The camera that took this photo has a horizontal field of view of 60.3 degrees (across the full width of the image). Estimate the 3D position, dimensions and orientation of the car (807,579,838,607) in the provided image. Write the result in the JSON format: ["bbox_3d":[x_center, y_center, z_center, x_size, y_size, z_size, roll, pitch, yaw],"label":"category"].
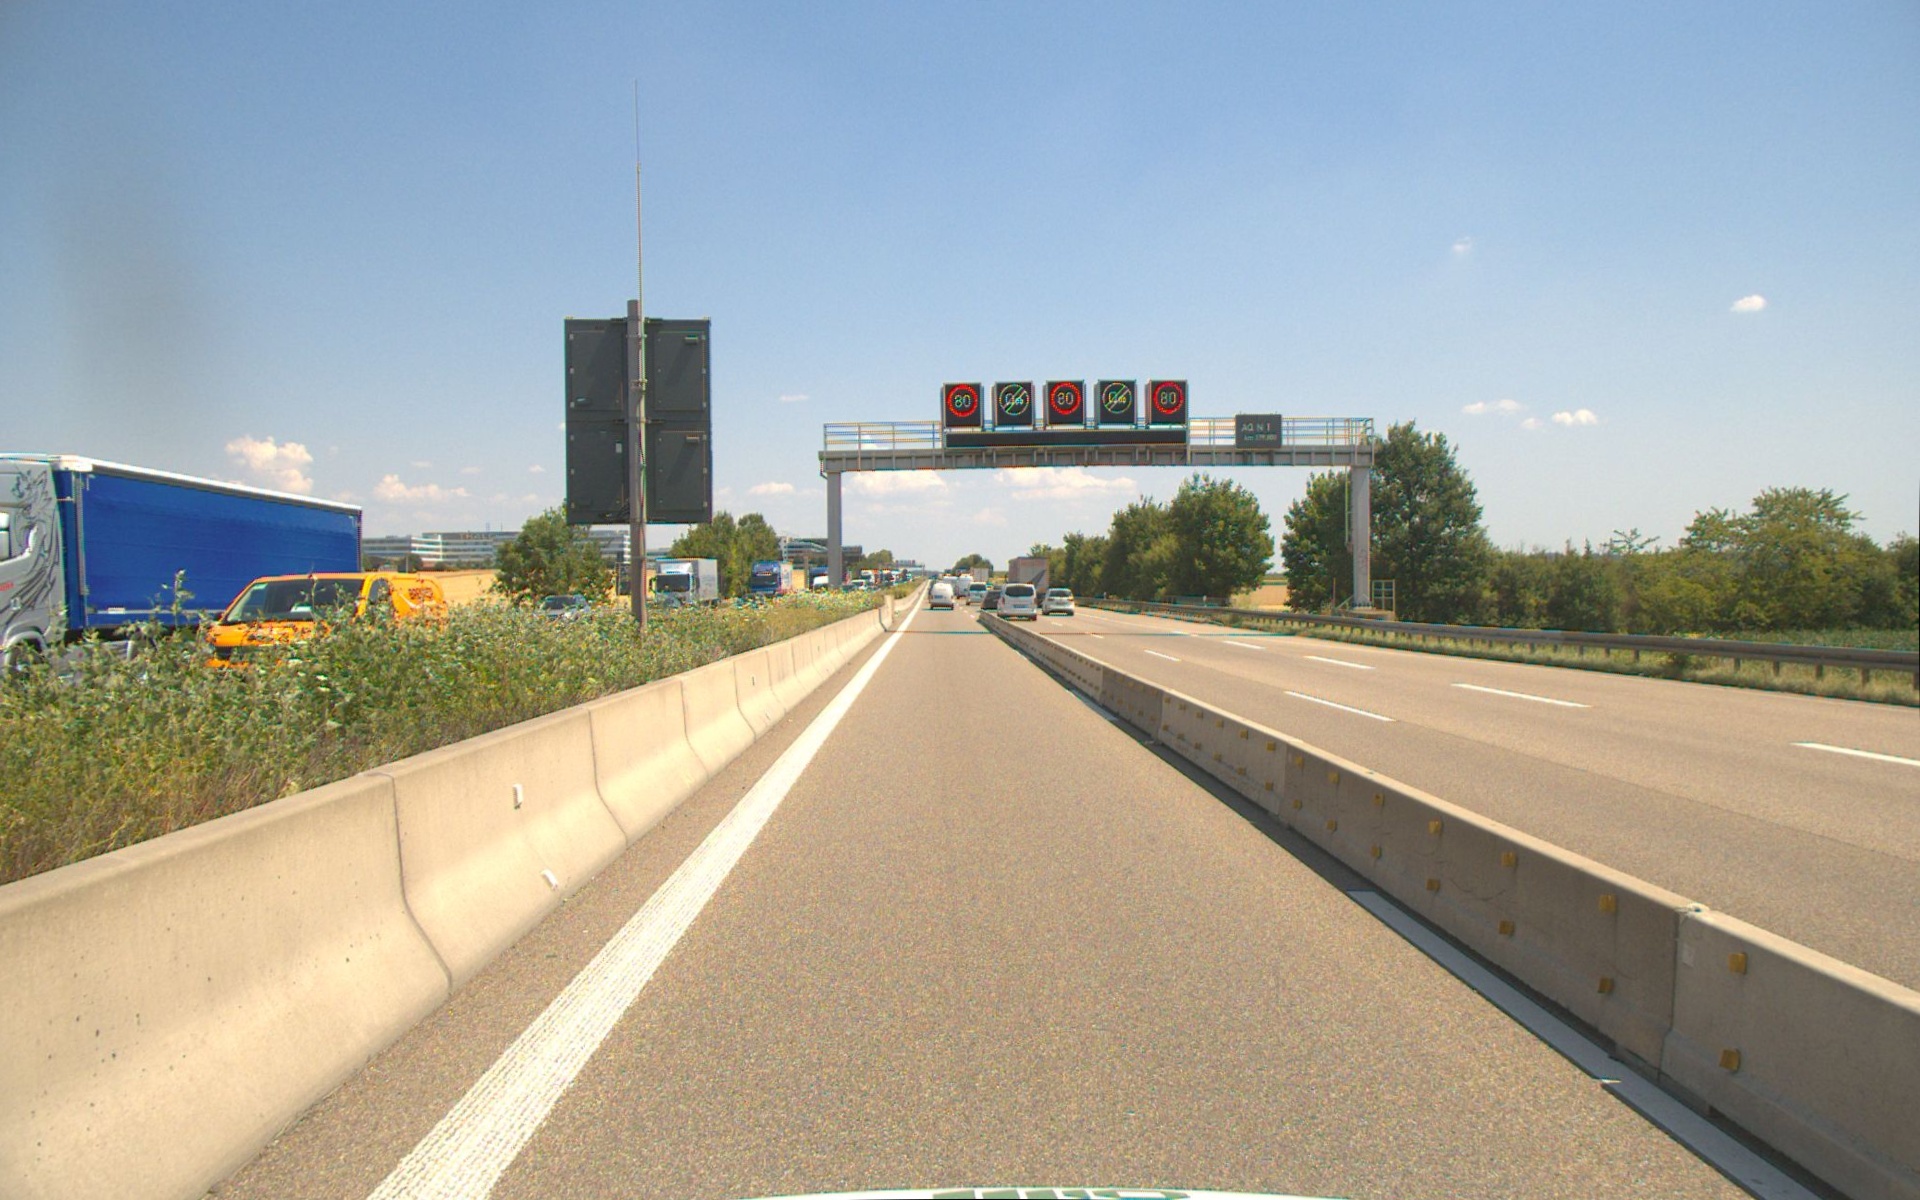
[{"bbox_3d":[-10.047,-0.540,121.430,1.953,1.980,4.793,-1,0,-2],"label":"car"}]

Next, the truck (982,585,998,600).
[{"bbox_3d":[4.161,-1.014,230.763,1.953,2.049,3.999,-1,0,-1],"label":"truck"}]

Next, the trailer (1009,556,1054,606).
[{"bbox_3d":[5.981,-1.529,139.190,3.211,4.036,9.110,0,0,-1],"label":"trailer"}]

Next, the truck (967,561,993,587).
[{"bbox_3d":[3.106,-4.143,263.629,3.738,3.973,9.578,-1,0,-1],"label":"truck"}]

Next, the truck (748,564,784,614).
[{"bbox_3d":[-17.478,-0.983,149.256,2.540,4.312,4.853,-3,0,-1],"label":"truck"}]

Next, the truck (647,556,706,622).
[{"bbox_3d":[-16.541,-0.663,96.704,2.643,3.650,4.000,-2,0,0],"label":"truck"}]

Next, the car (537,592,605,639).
[{"bbox_3d":[-15.656,0.605,66.775,1.795,1.749,4.079,-2,0,-1],"label":"car"}]

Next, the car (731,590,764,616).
[{"bbox_3d":[-12.682,0.188,98.834,1.527,1.467,3.836,-1,1,-2],"label":"car"}]

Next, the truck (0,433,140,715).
[{"bbox_3d":[-15.360,-0.386,26.218,2.362,4.158,4.659,-1,0,-1],"label":"truck"}]

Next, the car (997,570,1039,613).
[{"bbox_3d":[2.981,-0.402,85.320,1.953,2.157,3.999,0,0,-1],"label":"car"}]

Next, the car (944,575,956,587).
[{"bbox_3d":[-1.574,-2.990,258.427,1.953,1.868,3.999,0,0,-1],"label":"car"}]

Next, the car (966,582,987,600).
[{"bbox_3d":[1.432,-0.792,146.461,1.737,1.472,3.999,0,0,-1],"label":"car"}]

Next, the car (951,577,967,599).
[{"bbox_3d":[-0.139,-1.373,192.320,1.737,2.434,3.999,0,0,-1],"label":"car"}]

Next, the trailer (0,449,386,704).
[{"bbox_3d":[-15.461,-0.438,34.192,2.337,4.158,14.095,-1,0,-1],"label":"trailer"}]

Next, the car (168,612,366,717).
[{"bbox_3d":[-11.535,1.013,27.821,1.555,1.534,4.228,-1,0,-1],"label":"car"}]

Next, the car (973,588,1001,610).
[{"bbox_3d":[1.795,-0.055,111.771,1.737,1.472,3.999,0,0,-1],"label":"car"}]

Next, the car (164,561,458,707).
[{"bbox_3d":[-8.011,0.388,20.971,1.856,1.606,4.935,1,0,-1],"label":"car"}]

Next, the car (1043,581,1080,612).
[{"bbox_3d":[6.272,-0.200,102.386,1.953,1.825,3.999,0,0,-1],"label":"car"}]

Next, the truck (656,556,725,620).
[{"bbox_3d":[-16.526,-0.726,101.973,2.644,3.683,8.786,-2,1,0],"label":"truck"}]

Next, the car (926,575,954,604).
[{"bbox_3d":[-1.442,-0.720,119.711,1.953,2.049,3.999,0,0,-1],"label":"car"}]

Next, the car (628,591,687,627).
[{"bbox_3d":[-12.291,0.339,67.395,1.796,1.347,4.278,-2,1,-3],"label":"car"}]
